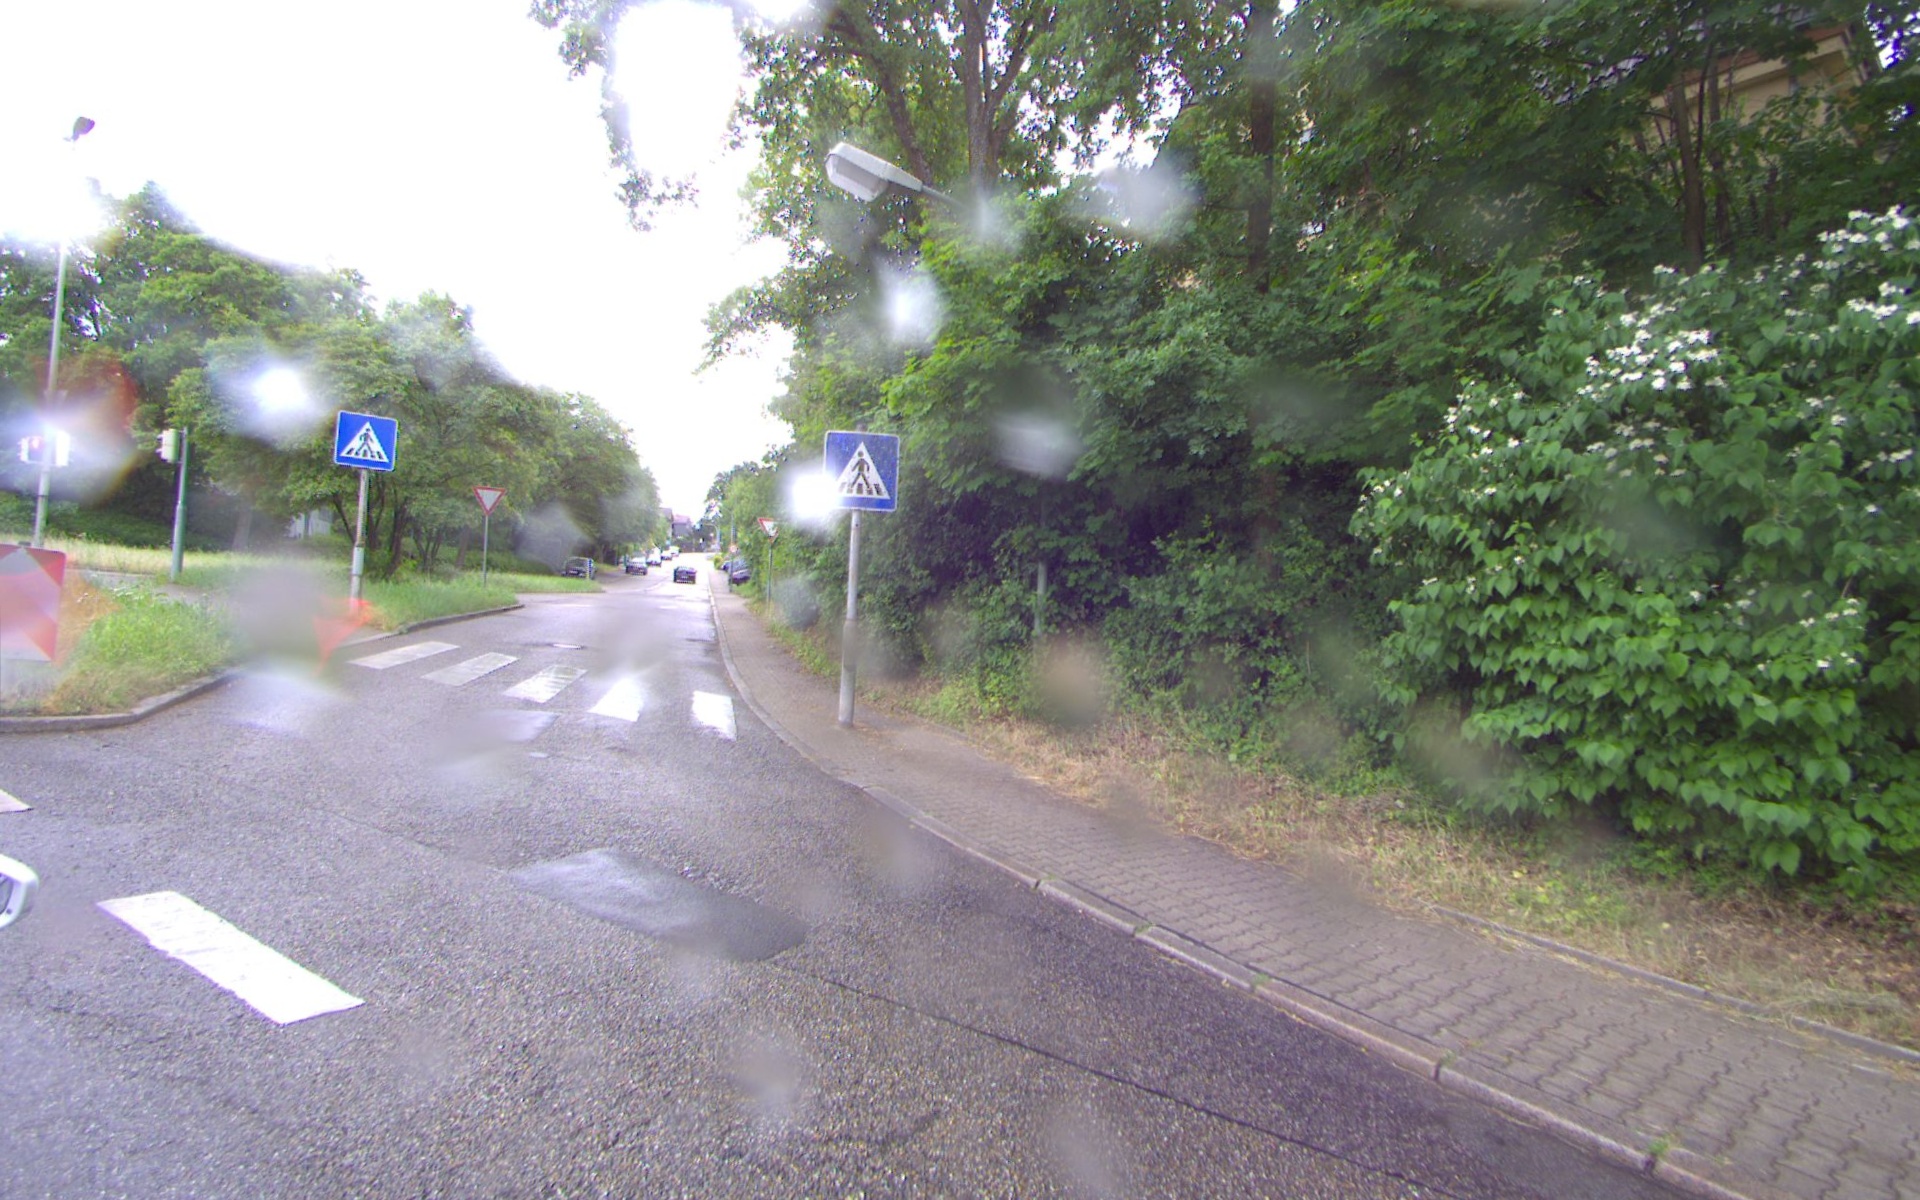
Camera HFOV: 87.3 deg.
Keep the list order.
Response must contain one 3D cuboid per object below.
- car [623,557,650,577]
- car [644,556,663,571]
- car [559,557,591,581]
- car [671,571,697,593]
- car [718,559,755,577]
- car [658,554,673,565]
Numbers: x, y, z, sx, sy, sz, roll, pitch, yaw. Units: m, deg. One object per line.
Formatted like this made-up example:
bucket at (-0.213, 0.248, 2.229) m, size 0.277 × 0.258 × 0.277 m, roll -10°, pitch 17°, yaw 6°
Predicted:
car at (-30.104, -3.031, 93.741) m, size 1.874 × 1.467 × 4.285 m, roll 7°, pitch -2°, yaw -13°
car at (-37.708, -4.438, 123.655) m, size 1.968 × 1.463 × 4.278 m, roll 7°, pitch -2°, yaw -19°
car at (-25.888, -2.089, 67.745) m, size 1.651 × 1.387 × 3.477 m, roll 6°, pitch 0°, yaw -16°
car at (-22.722, -1.480, 82.926) m, size 1.789 × 1.461 × 4.148 m, roll 6°, pitch 1°, yaw -14°
car at (-25.770, -3.700, 116.103) m, size 3.939 × 1.594 × 1.766 m, roll 5°, pitch 1°, yaw -18°
car at (-46.773, -6.459, 159.520) m, size 1.877 × 1.413 × 4.151 m, roll 7°, pitch -2°, yaw -20°
